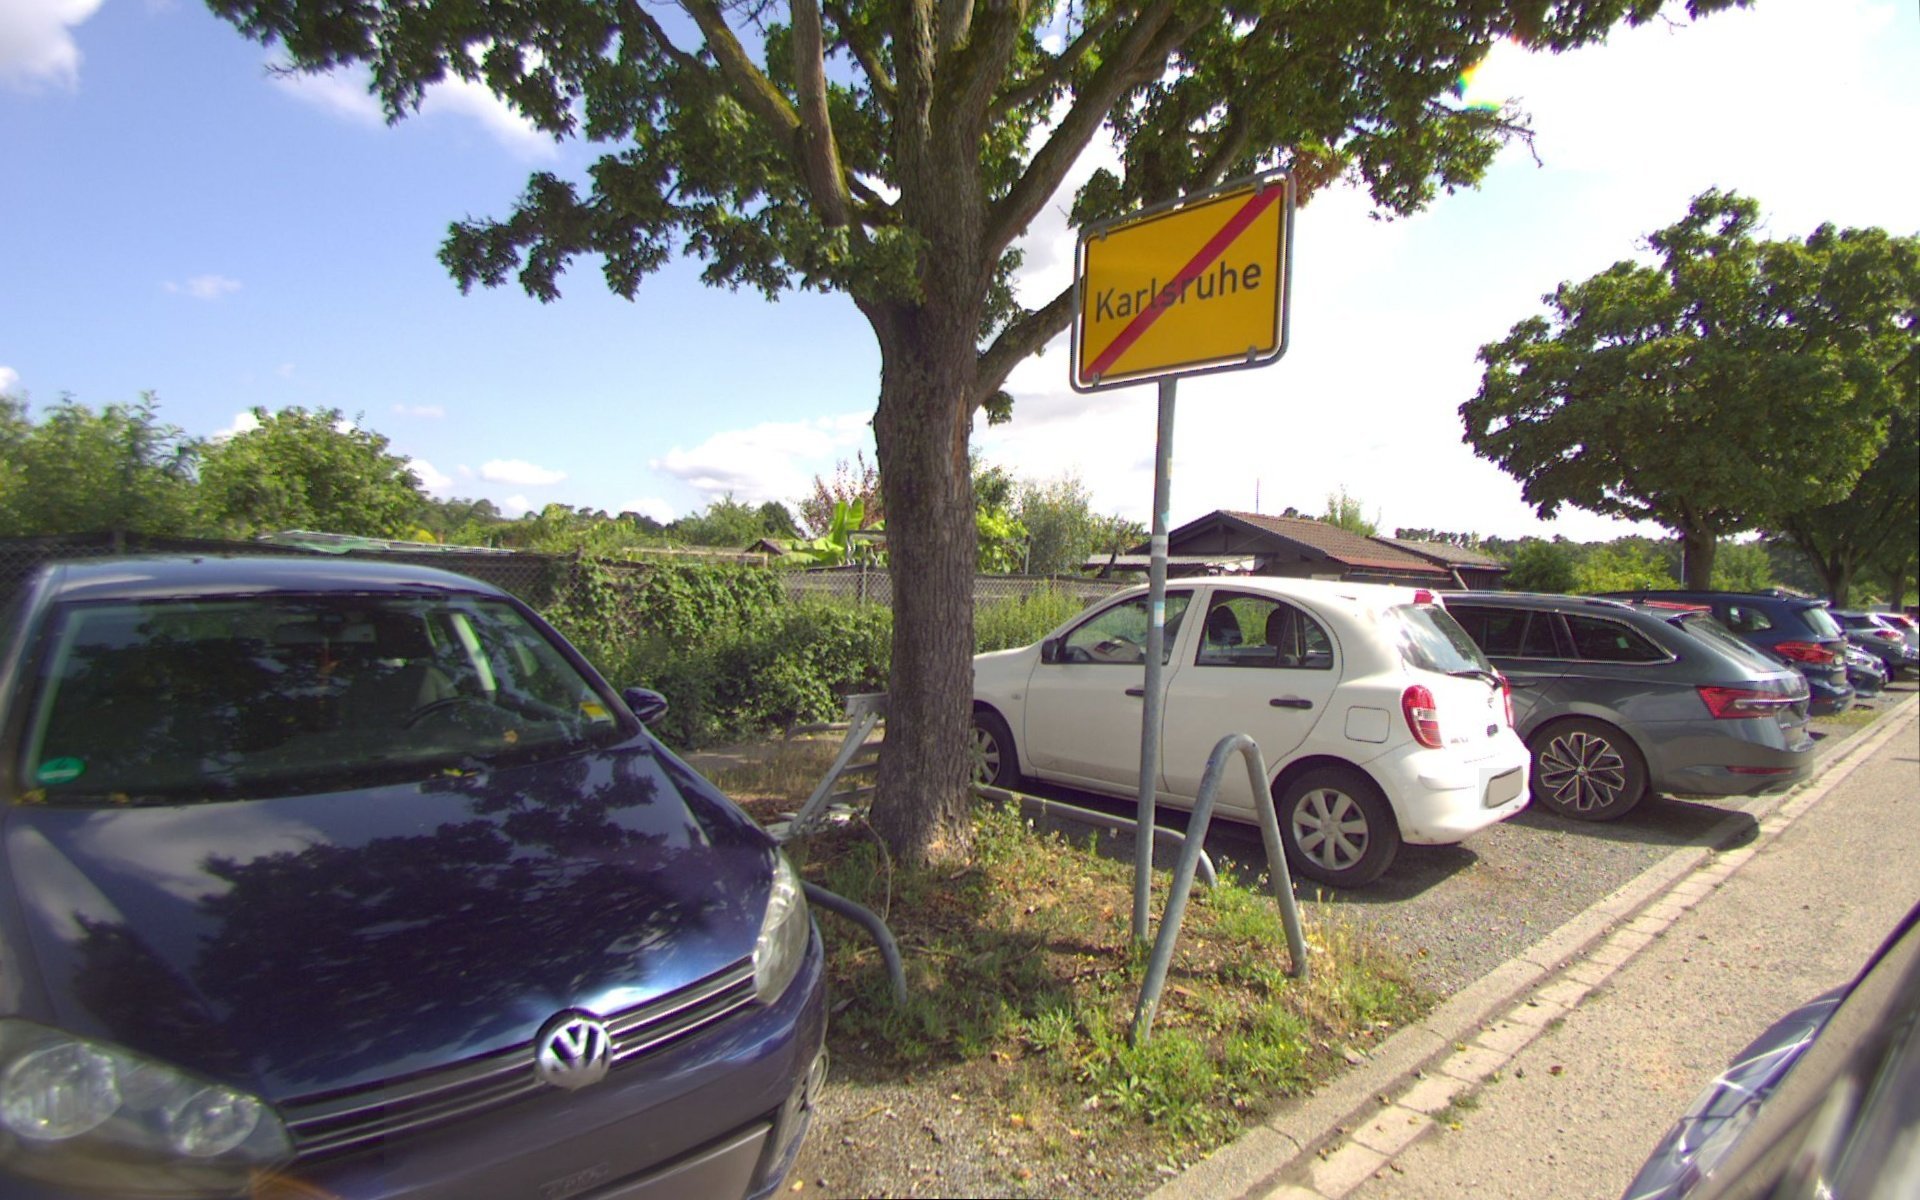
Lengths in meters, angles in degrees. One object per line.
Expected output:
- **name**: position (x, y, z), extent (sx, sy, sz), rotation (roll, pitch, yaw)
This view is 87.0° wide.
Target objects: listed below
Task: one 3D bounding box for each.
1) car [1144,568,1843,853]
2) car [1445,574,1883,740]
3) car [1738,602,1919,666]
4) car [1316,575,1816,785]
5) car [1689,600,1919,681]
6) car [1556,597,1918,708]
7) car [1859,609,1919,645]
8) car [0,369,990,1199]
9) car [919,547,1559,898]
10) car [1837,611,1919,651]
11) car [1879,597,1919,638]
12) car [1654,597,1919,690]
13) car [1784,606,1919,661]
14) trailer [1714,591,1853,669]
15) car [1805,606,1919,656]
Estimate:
- **car**: position (3.846, 0.612, 7.930), extent (4.550, 1.598, 1.779), rotation (0, 0, 45)
- **car**: position (8.611, 0.553, 12.681), extent (1.846, 1.658, 4.163), rotation (1, 2, -40)
- **car**: position (23.114, 0.834, 26.462), extent (1.922, 1.530, 4.073), rotation (0, 0, -39)
- **car**: position (5.682, 0.588, 9.840), extent (1.731, 1.551, 3.816), rotation (0, 2, -42)
- **car**: position (18.037, 0.790, 21.653), extent (1.820, 1.559, 3.725), rotation (0, 0, -45)
- **car**: position (12.221, 0.716, 16.141), extent (1.942, 1.511, 4.340), rotation (0, 0, -42)
- **car**: position (41.227, 1.150, 43.120), extent (1.845, 1.523, 4.190), rotation (0, 0, -41)
- **car**: position (-1.939, 0.520, 3.073), extent (1.836, 1.579, 3.936), rotation (0, 0, -43)
- **car**: position (1.545, 0.542, 6.390), extent (1.639, 1.569, 3.575), rotation (1, 0, -45)
- **car**: position (36.029, 1.163, 38.283), extent (4.239, 1.446, 1.878), rotation (0, 0, 45)
- **car**: position (46.897, 0.914, 48.063), extent (2.076, 1.910, 4.640), rotation (1, 2, -43)
- **car**: position (16.300, 0.765, 19.694), extent (1.966, 1.614, 4.307), rotation (0, 0, -42)
- **car**: position (25.893, 0.914, 28.463), extent (1.839, 1.474, 4.068), rotation (0, 0, -44)
- **trailer**: position (19.619, 0.683, 24.142), extent (2.450, 1.742, 1.494), rotation (0, -1, 44)
- **car**: position (30.503, 0.984, 33.188), extent (1.820, 1.539, 3.996), rotation (0, 0, -38)
